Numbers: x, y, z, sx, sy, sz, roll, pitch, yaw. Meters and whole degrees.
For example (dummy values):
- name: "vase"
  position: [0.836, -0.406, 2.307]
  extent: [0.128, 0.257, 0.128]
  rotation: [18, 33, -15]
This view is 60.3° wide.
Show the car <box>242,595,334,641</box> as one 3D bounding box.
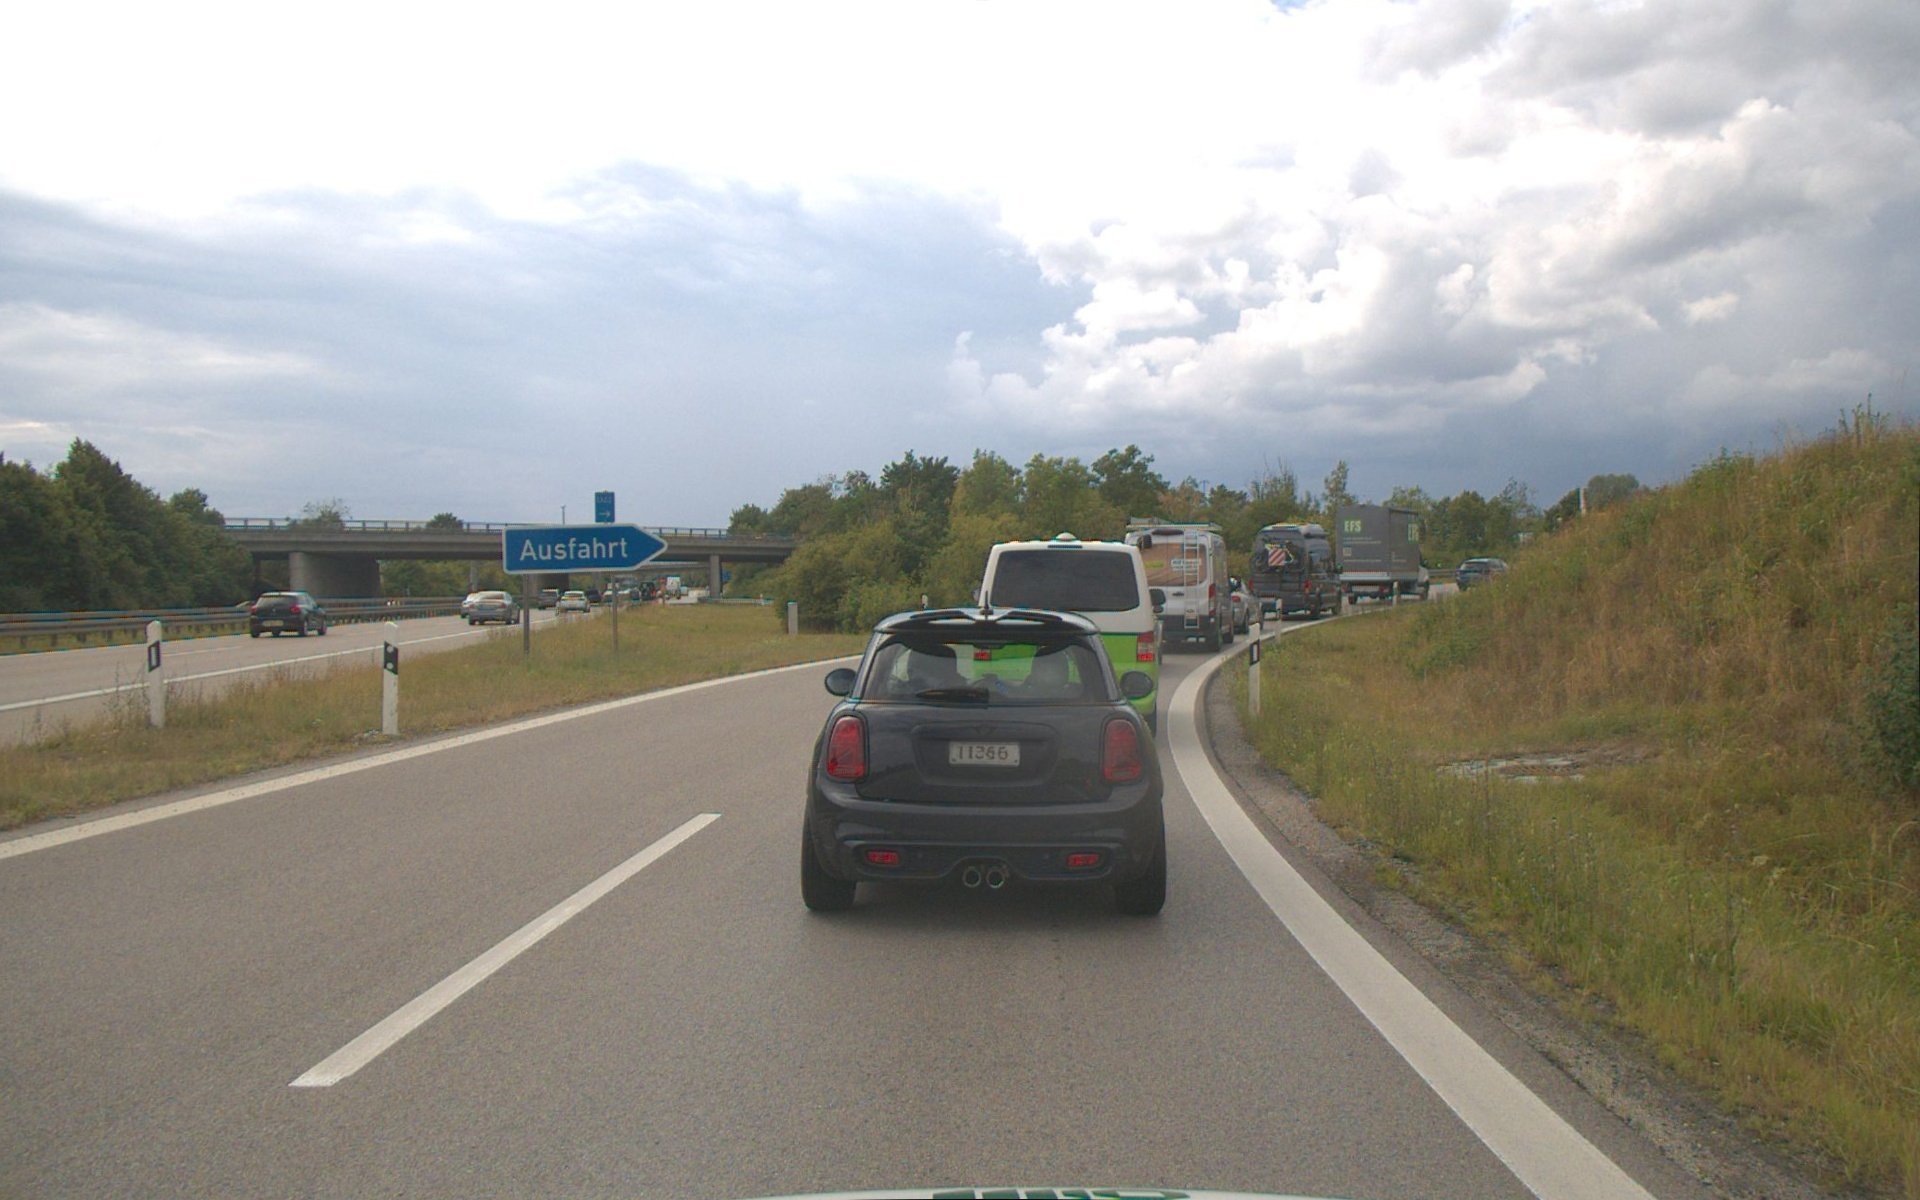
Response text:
- name: "car"
  position: [-22.165, 0.567, 54.694]
  extent: [1.746, 1.423, 4.299]
  rotation: [-1, 0, -7]

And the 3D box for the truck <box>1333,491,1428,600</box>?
- name: "truck"
  position: [16.504, -2.044, 64.689]
  extent: [2.186, 3.975, 6.007]
  rotation: [0, -1, 28]

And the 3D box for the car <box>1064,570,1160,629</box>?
- name: "car"
  position: [4.365, -0.002, 47.030]
  extent: [1.758, 1.583, 3.961]
  rotation: [0, 0, 20]

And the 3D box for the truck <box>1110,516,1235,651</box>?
- name: "truck"
  position: [4.670, -0.377, 35.652]
  extent: [2.132, 2.705, 5.113]
  rotation: [0, 1, 13]

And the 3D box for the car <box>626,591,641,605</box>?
- name: "car"
  position: [-47.570, -0.297, 241.058]
  extent: [2.031, 2.049, 3.991]
  rotation: [1, 0, -9]

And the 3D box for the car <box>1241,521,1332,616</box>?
- name: "car"
  position: [10.272, -0.966, 51.808]
  extent: [2.062, 2.845, 4.000]
  rotation: [1, 1, 22]

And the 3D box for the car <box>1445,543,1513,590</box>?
- name: "car"
  position: [23.847, -1.517, 75.901]
  extent: [1.959, 2.049, 3.987]
  rotation: [0, -1, 34]

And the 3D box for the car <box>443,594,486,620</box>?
- name: "car"
  position: [-28.048, 0.401, 93.682]
  extent: [1.747, 1.423, 4.297]
  rotation: [-1, 0, -9]

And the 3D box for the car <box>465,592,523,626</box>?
- name: "car"
  position: [-20.414, 0.381, 72.578]
  extent: [1.746, 1.423, 4.544]
  rotation: [-1, 0, -7]

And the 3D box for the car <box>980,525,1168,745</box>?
- name: "car"
  position: [1.284, 0.308, 17.540]
  extent: [1.746, 2.049, 4.003]
  rotation: [0, 0, 6]

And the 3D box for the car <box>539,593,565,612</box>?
- name: "car"
  position: [-32.904, 0.190, 133.486]
  extent: [1.747, 1.423, 4.296]
  rotation: [-1, 0, -10]

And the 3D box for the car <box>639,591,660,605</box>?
- name: "car"
  position: [-37.846, -0.281, 201.661]
  extent: [2.055, 1.700, 4.300]
  rotation: [-1, 0, -6]

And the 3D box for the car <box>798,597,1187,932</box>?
- name: "car"
  position: [0.146, 0.714, 9.072]
  extent: [1.692, 1.438, 3.725]
  rotation: [0, 0, 0]

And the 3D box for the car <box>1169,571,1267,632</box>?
- name: "car"
  position: [6.863, 0.028, 43.710]
  extent: [1.827, 1.536, 4.001]
  rotation: [0, 0, 20]

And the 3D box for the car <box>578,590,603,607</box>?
- name: "car"
  position: [-38.732, -0.154, 173.428]
  extent: [2.055, 1.700, 4.300]
  rotation: [-1, 0, -6]

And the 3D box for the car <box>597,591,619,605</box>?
- name: "car"
  position: [-42.262, -0.268, 198.633]
  extent: [2.118, 1.700, 4.300]
  rotation: [-1, 0, -6]

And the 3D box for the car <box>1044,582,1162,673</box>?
- name: "car"
  position: [2.472, 0.429, 27.943]
  extent: [1.724, 1.423, 3.728]
  rotation: [-1, 0, 9]

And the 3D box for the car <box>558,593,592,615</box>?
- name: "car"
  position: [-26.160, 0.280, 112.457]
  extent: [1.745, 1.423, 4.024]
  rotation: [-1, 0, -6]
